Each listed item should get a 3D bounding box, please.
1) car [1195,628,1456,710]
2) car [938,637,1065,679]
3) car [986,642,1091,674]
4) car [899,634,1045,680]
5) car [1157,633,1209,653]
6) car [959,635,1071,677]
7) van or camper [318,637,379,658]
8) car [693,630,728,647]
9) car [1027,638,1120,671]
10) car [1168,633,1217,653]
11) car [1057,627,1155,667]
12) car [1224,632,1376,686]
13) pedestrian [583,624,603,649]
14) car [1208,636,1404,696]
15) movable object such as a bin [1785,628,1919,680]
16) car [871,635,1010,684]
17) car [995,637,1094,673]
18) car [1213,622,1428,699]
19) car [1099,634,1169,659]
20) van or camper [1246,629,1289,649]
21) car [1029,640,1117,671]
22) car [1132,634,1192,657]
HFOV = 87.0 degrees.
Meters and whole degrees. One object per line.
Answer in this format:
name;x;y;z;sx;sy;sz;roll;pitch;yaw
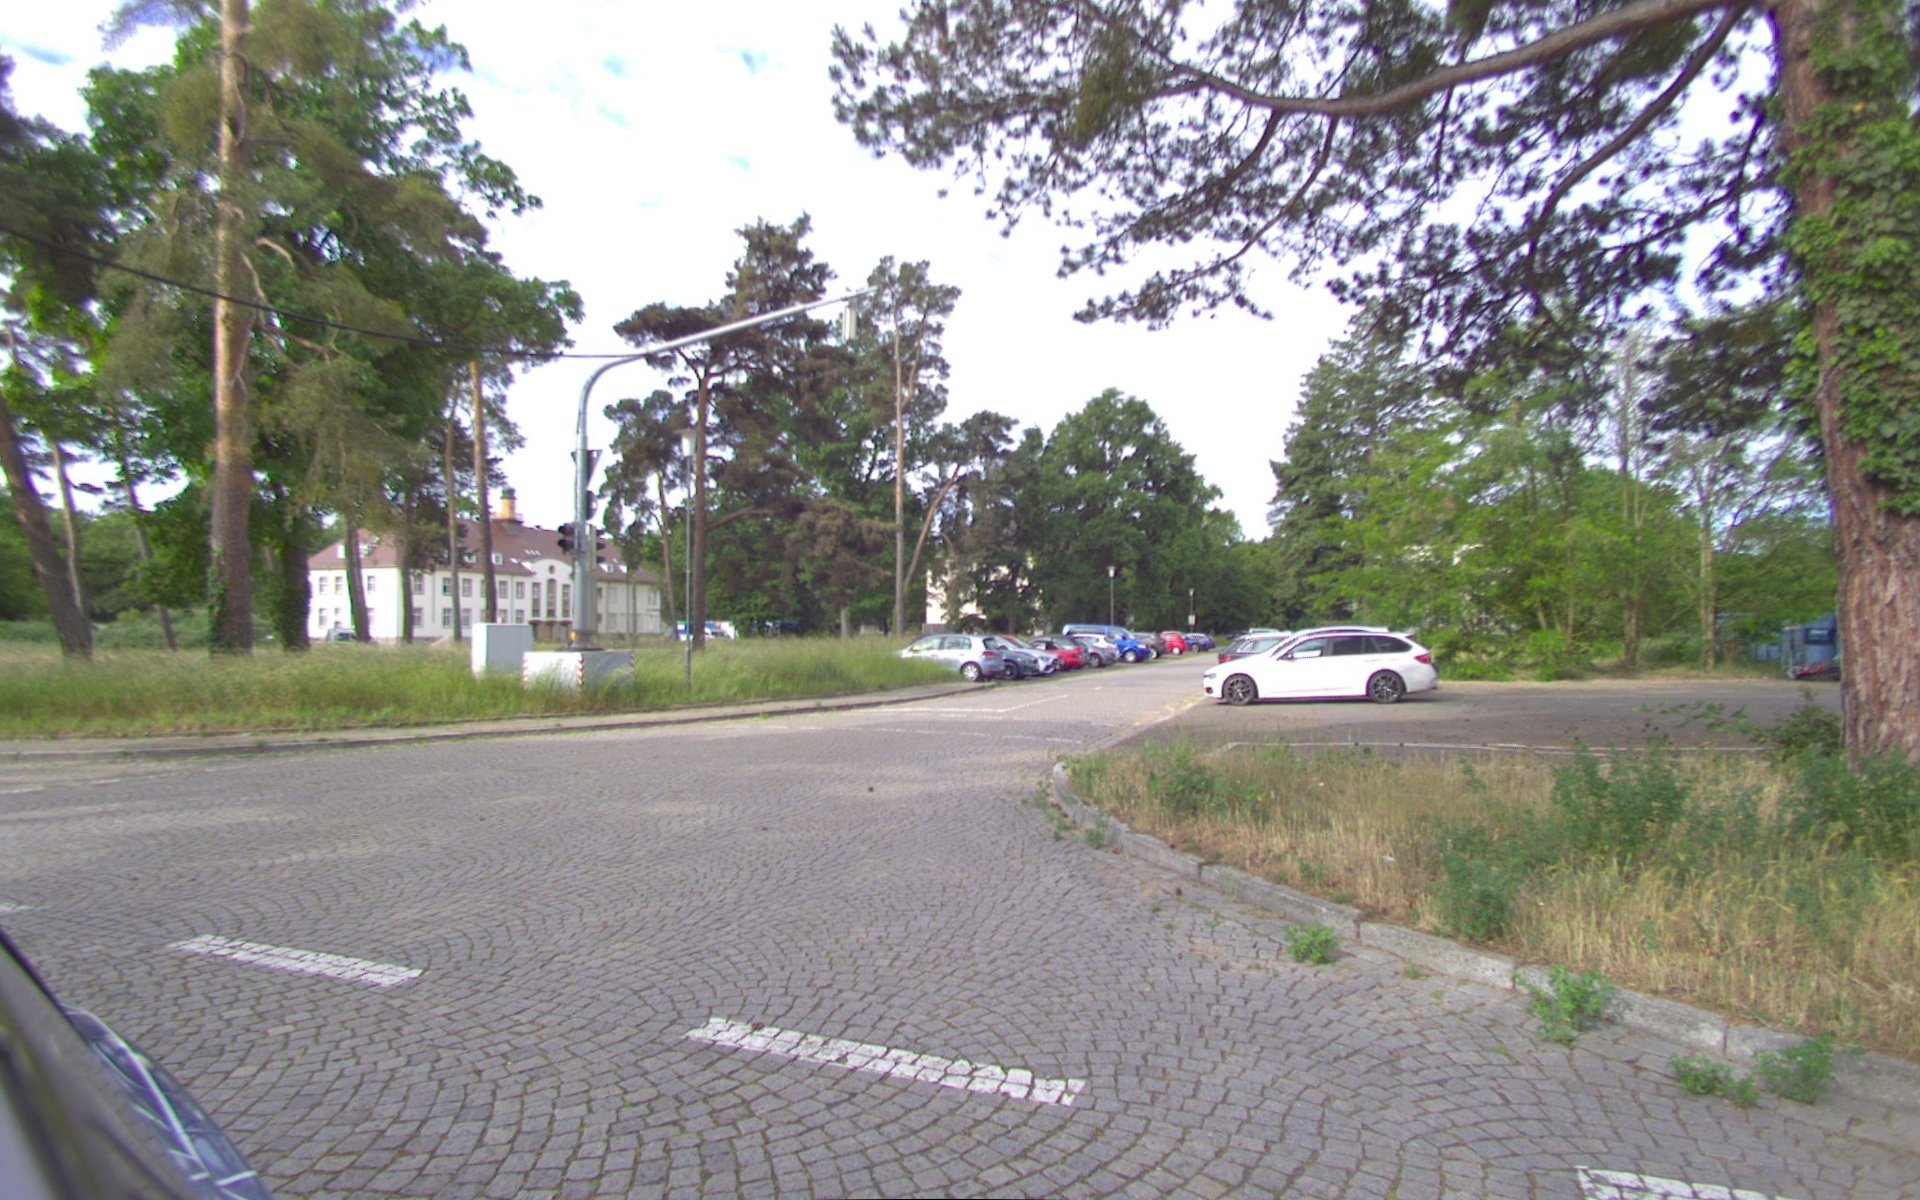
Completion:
car;7.434;1.427;20.974;4.783;1.450;1.901;-4;-3;19
car;1.502;2.051;36.453;4.244;1.456;1.782;-1;-2;24
car;3.167;2.309;40.852;3.910;1.244;1.783;-1;-2;23
car;0.395;1.885;33.990;4.601;1.456;1.784;-1;-2;22
car;17.867;3.458;81.133;3.769;1.581;1.985;-1;-2;23
car;2.097;2.107;38.694;3.912;1.524;1.782;-1;-2;24
van or camper;-67.094;5.189;111.063;6.079;2.324;2.449;-1;-2;19
car;-31.917;4.915;129.676;2.150;2.029;4.804;-1;-2;19
car;5.143;2.431;45.793;3.909;1.446;1.783;-1;-2;22
car;19.592;3.582;85.232;3.769;1.637;1.985;-1;-2;23
car;7.729;2.447;53.622;4.817;2.029;1.983;-1;-2;26
car;9.540;1.635;28.649;3.952;1.467;1.671;-1;-2;17
pedestrian;-32.403;3.255;89.350;1.176;2.194;1.048;-1;-2;21
car;8.831;1.655;26.075;4.598;1.433;1.873;-1;-2;19
movable object such as a bin;22.096;1.311;24.892;2.521;1.221;1.162;-1;-2;21
car;-0.598;1.814;31.525;3.973;1.429;1.783;-1;-2;22
car;3.656;2.347;43.519;3.910;1.487;1.783;-1;-2;23
car;8.218;1.407;23.449;4.449;1.602;1.837;-3;-3;17
car;10.659;2.842;61.992;3.975;1.516;1.854;-1;-2;24
van or camper;39.432;4.963;129.713;5.210;2.482;2.195;-1;-2;19
car;5.471;2.654;48.872;3.909;1.460;1.783;-1;-2;22
car;14.272;3.219;71.547;3.967;1.581;1.988;-1;-2;18
